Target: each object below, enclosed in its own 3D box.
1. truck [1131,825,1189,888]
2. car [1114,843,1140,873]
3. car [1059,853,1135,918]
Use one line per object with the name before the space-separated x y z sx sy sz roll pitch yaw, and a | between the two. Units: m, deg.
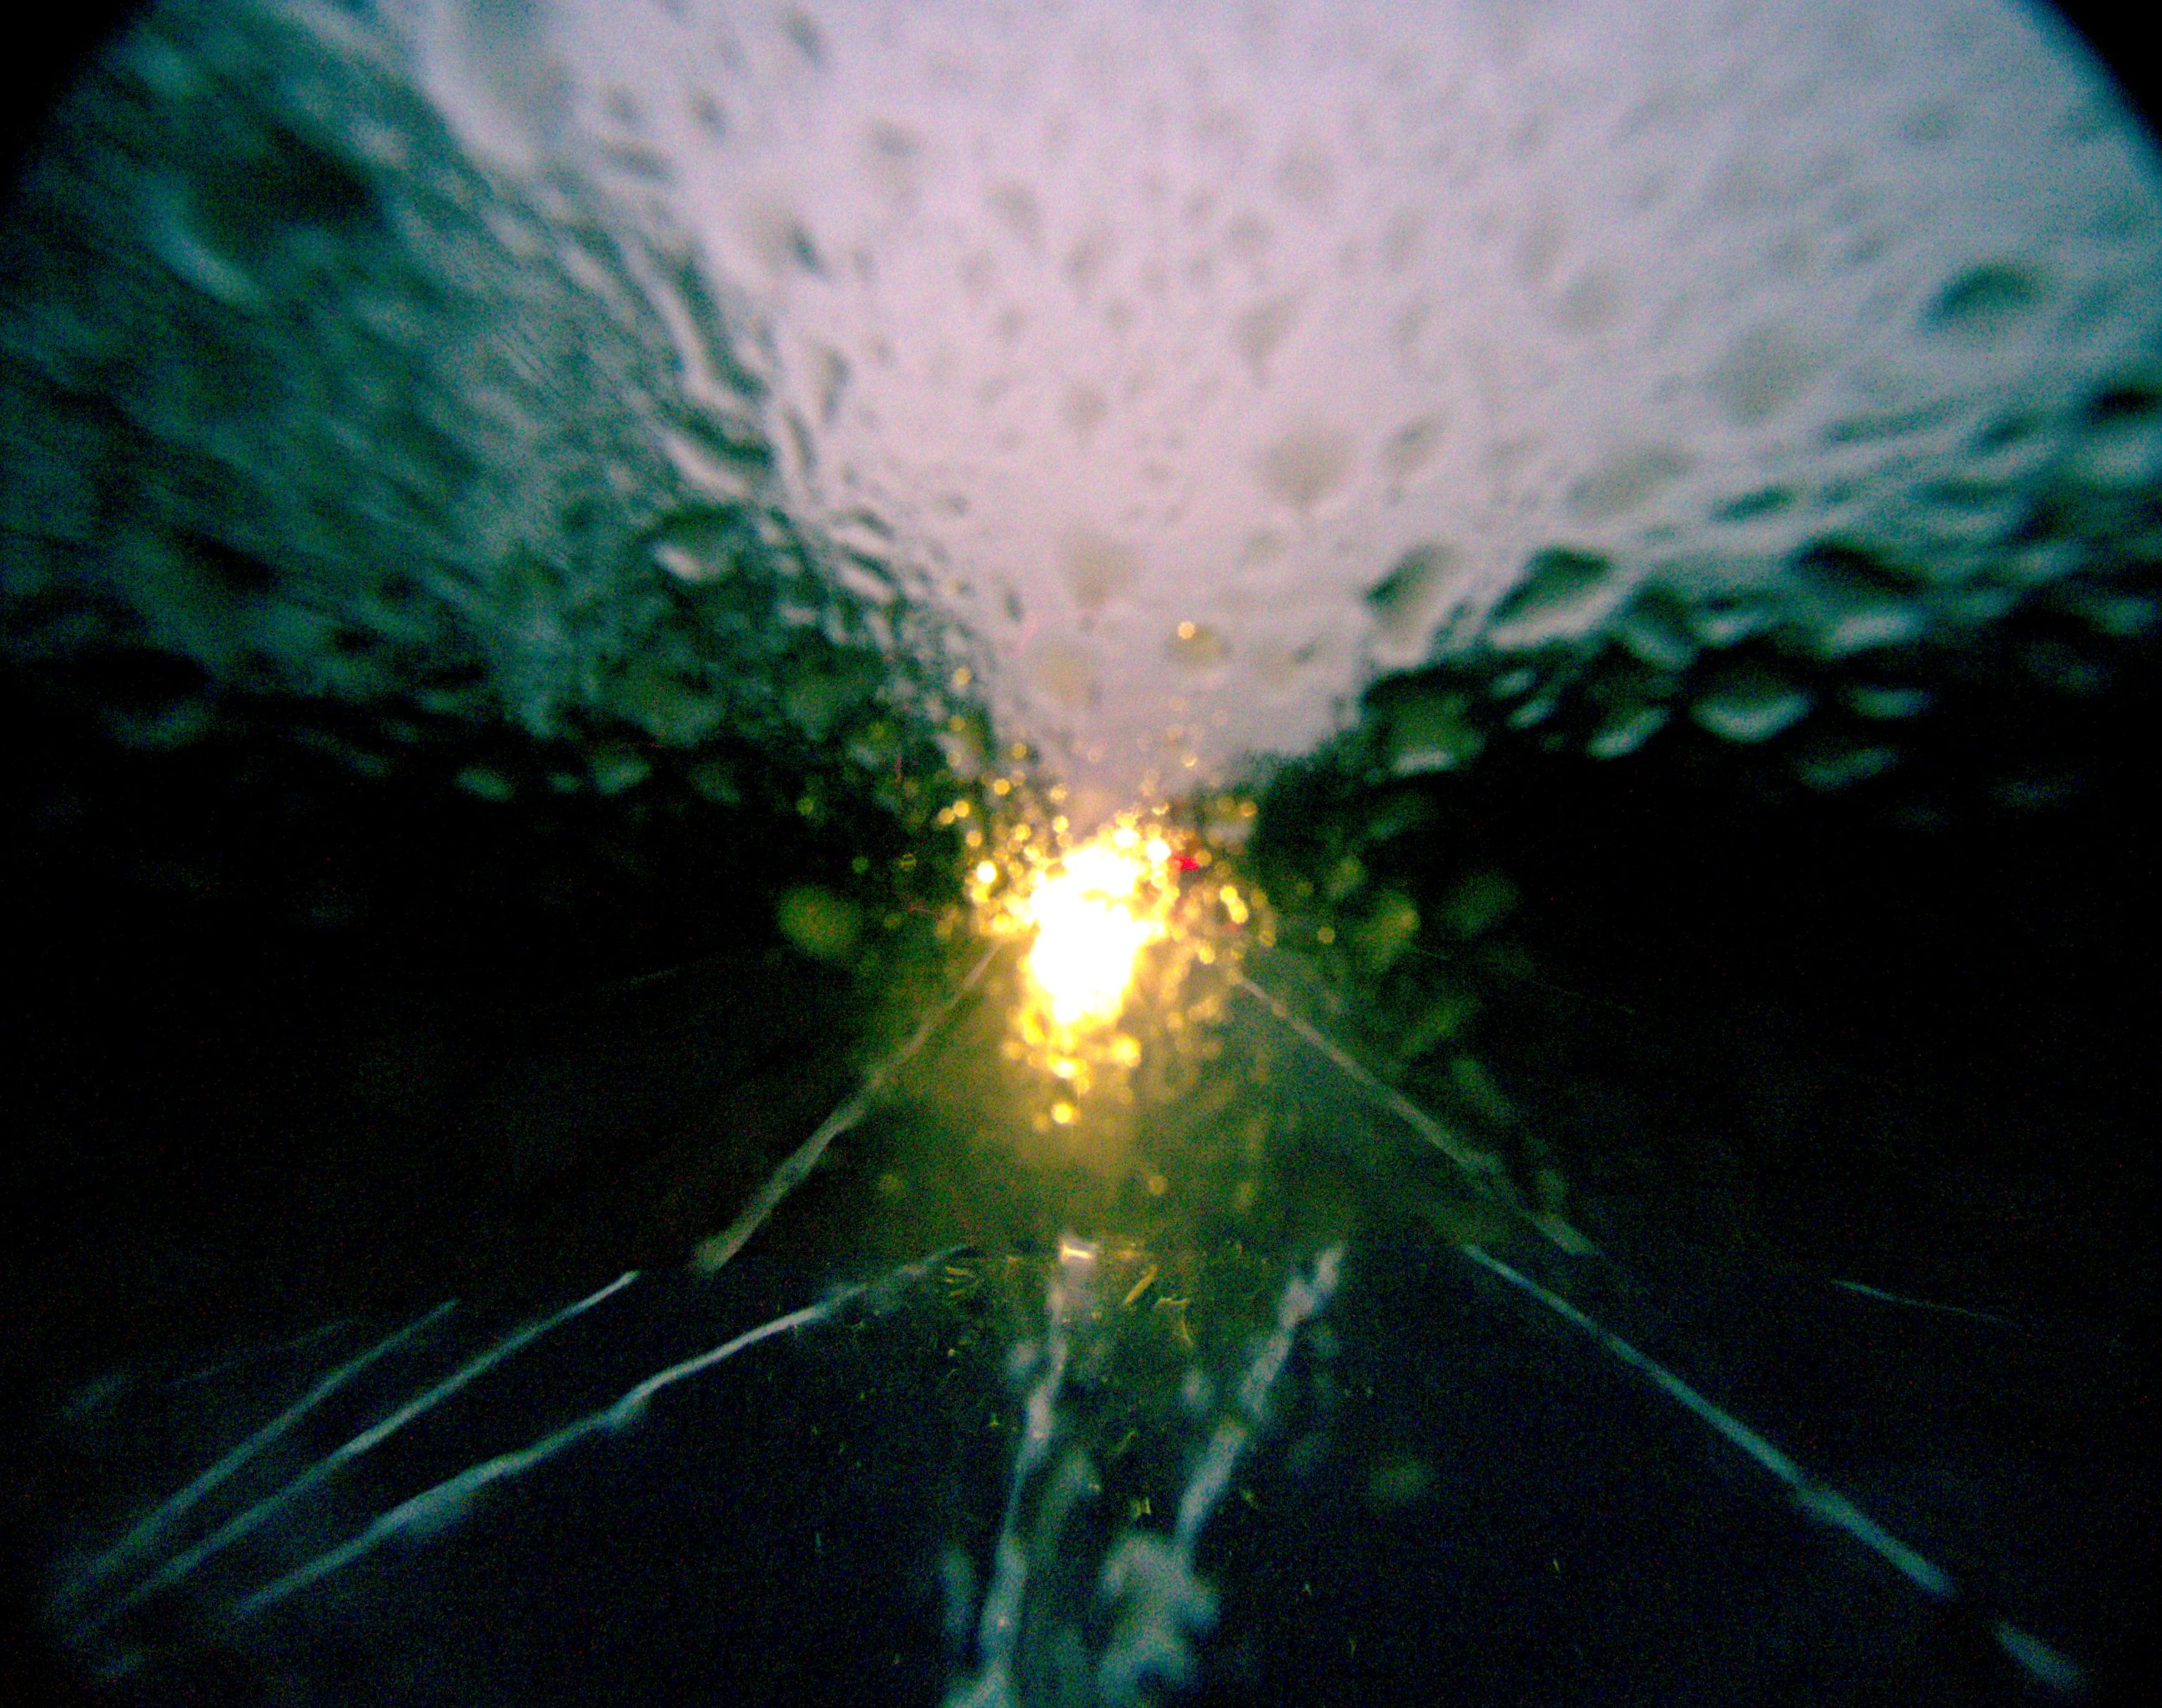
truck | 3.840 0.105 38.056 2.108 2.755 6.871 -2 0 0
car | 4.501 0.354 74.827 2.079 2.794 6.652 -2 1 0
car | 0.431 0.852 22.626 1.998 1.672 3.999 -2 1 0
